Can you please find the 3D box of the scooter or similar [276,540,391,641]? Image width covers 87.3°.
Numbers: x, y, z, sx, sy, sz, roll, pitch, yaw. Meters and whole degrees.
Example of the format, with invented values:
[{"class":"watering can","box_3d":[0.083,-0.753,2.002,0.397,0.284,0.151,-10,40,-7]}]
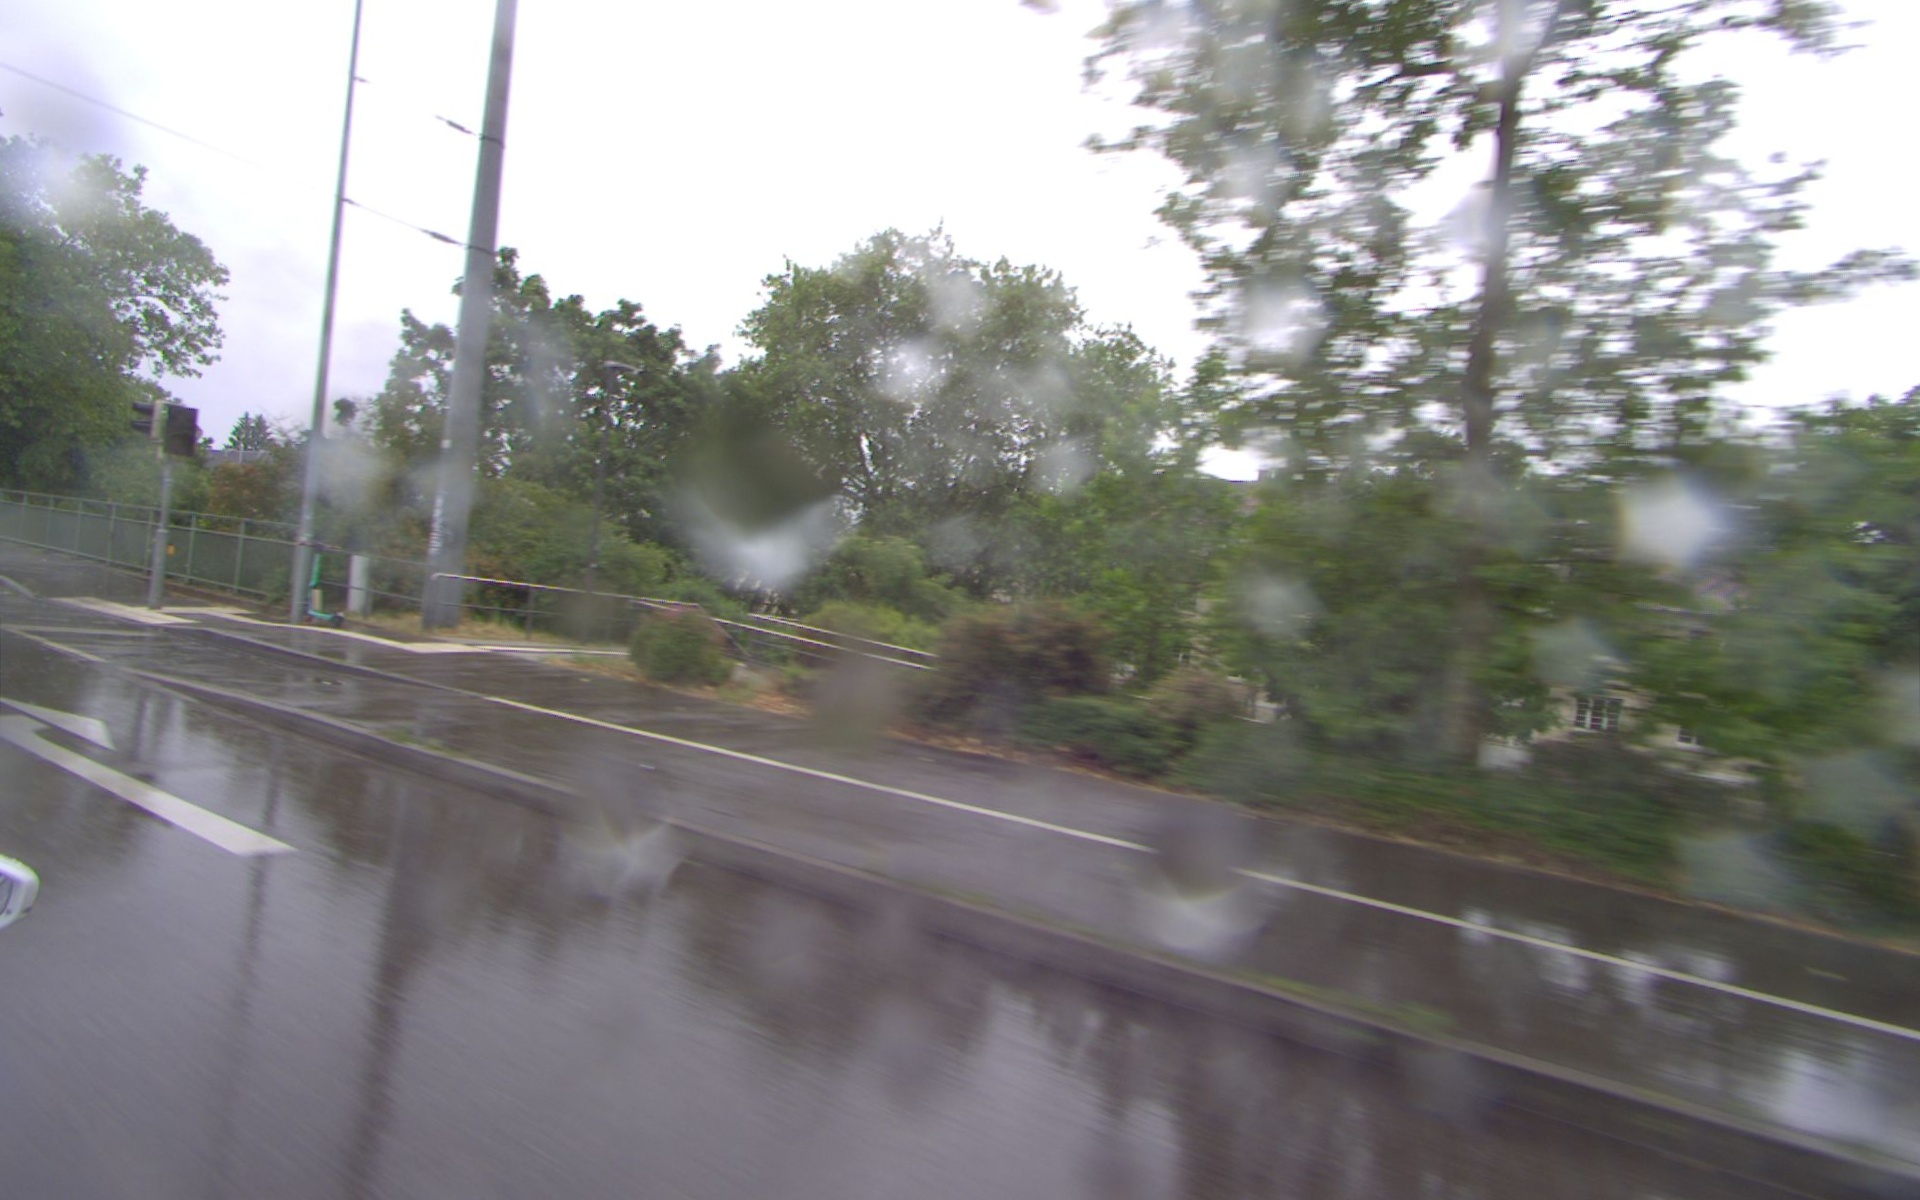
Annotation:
[{"class":"scooter or similar","box_3d":[-9.382,-0.148,15.047,1.621,1.308,0.760,6,-1,34]}]
